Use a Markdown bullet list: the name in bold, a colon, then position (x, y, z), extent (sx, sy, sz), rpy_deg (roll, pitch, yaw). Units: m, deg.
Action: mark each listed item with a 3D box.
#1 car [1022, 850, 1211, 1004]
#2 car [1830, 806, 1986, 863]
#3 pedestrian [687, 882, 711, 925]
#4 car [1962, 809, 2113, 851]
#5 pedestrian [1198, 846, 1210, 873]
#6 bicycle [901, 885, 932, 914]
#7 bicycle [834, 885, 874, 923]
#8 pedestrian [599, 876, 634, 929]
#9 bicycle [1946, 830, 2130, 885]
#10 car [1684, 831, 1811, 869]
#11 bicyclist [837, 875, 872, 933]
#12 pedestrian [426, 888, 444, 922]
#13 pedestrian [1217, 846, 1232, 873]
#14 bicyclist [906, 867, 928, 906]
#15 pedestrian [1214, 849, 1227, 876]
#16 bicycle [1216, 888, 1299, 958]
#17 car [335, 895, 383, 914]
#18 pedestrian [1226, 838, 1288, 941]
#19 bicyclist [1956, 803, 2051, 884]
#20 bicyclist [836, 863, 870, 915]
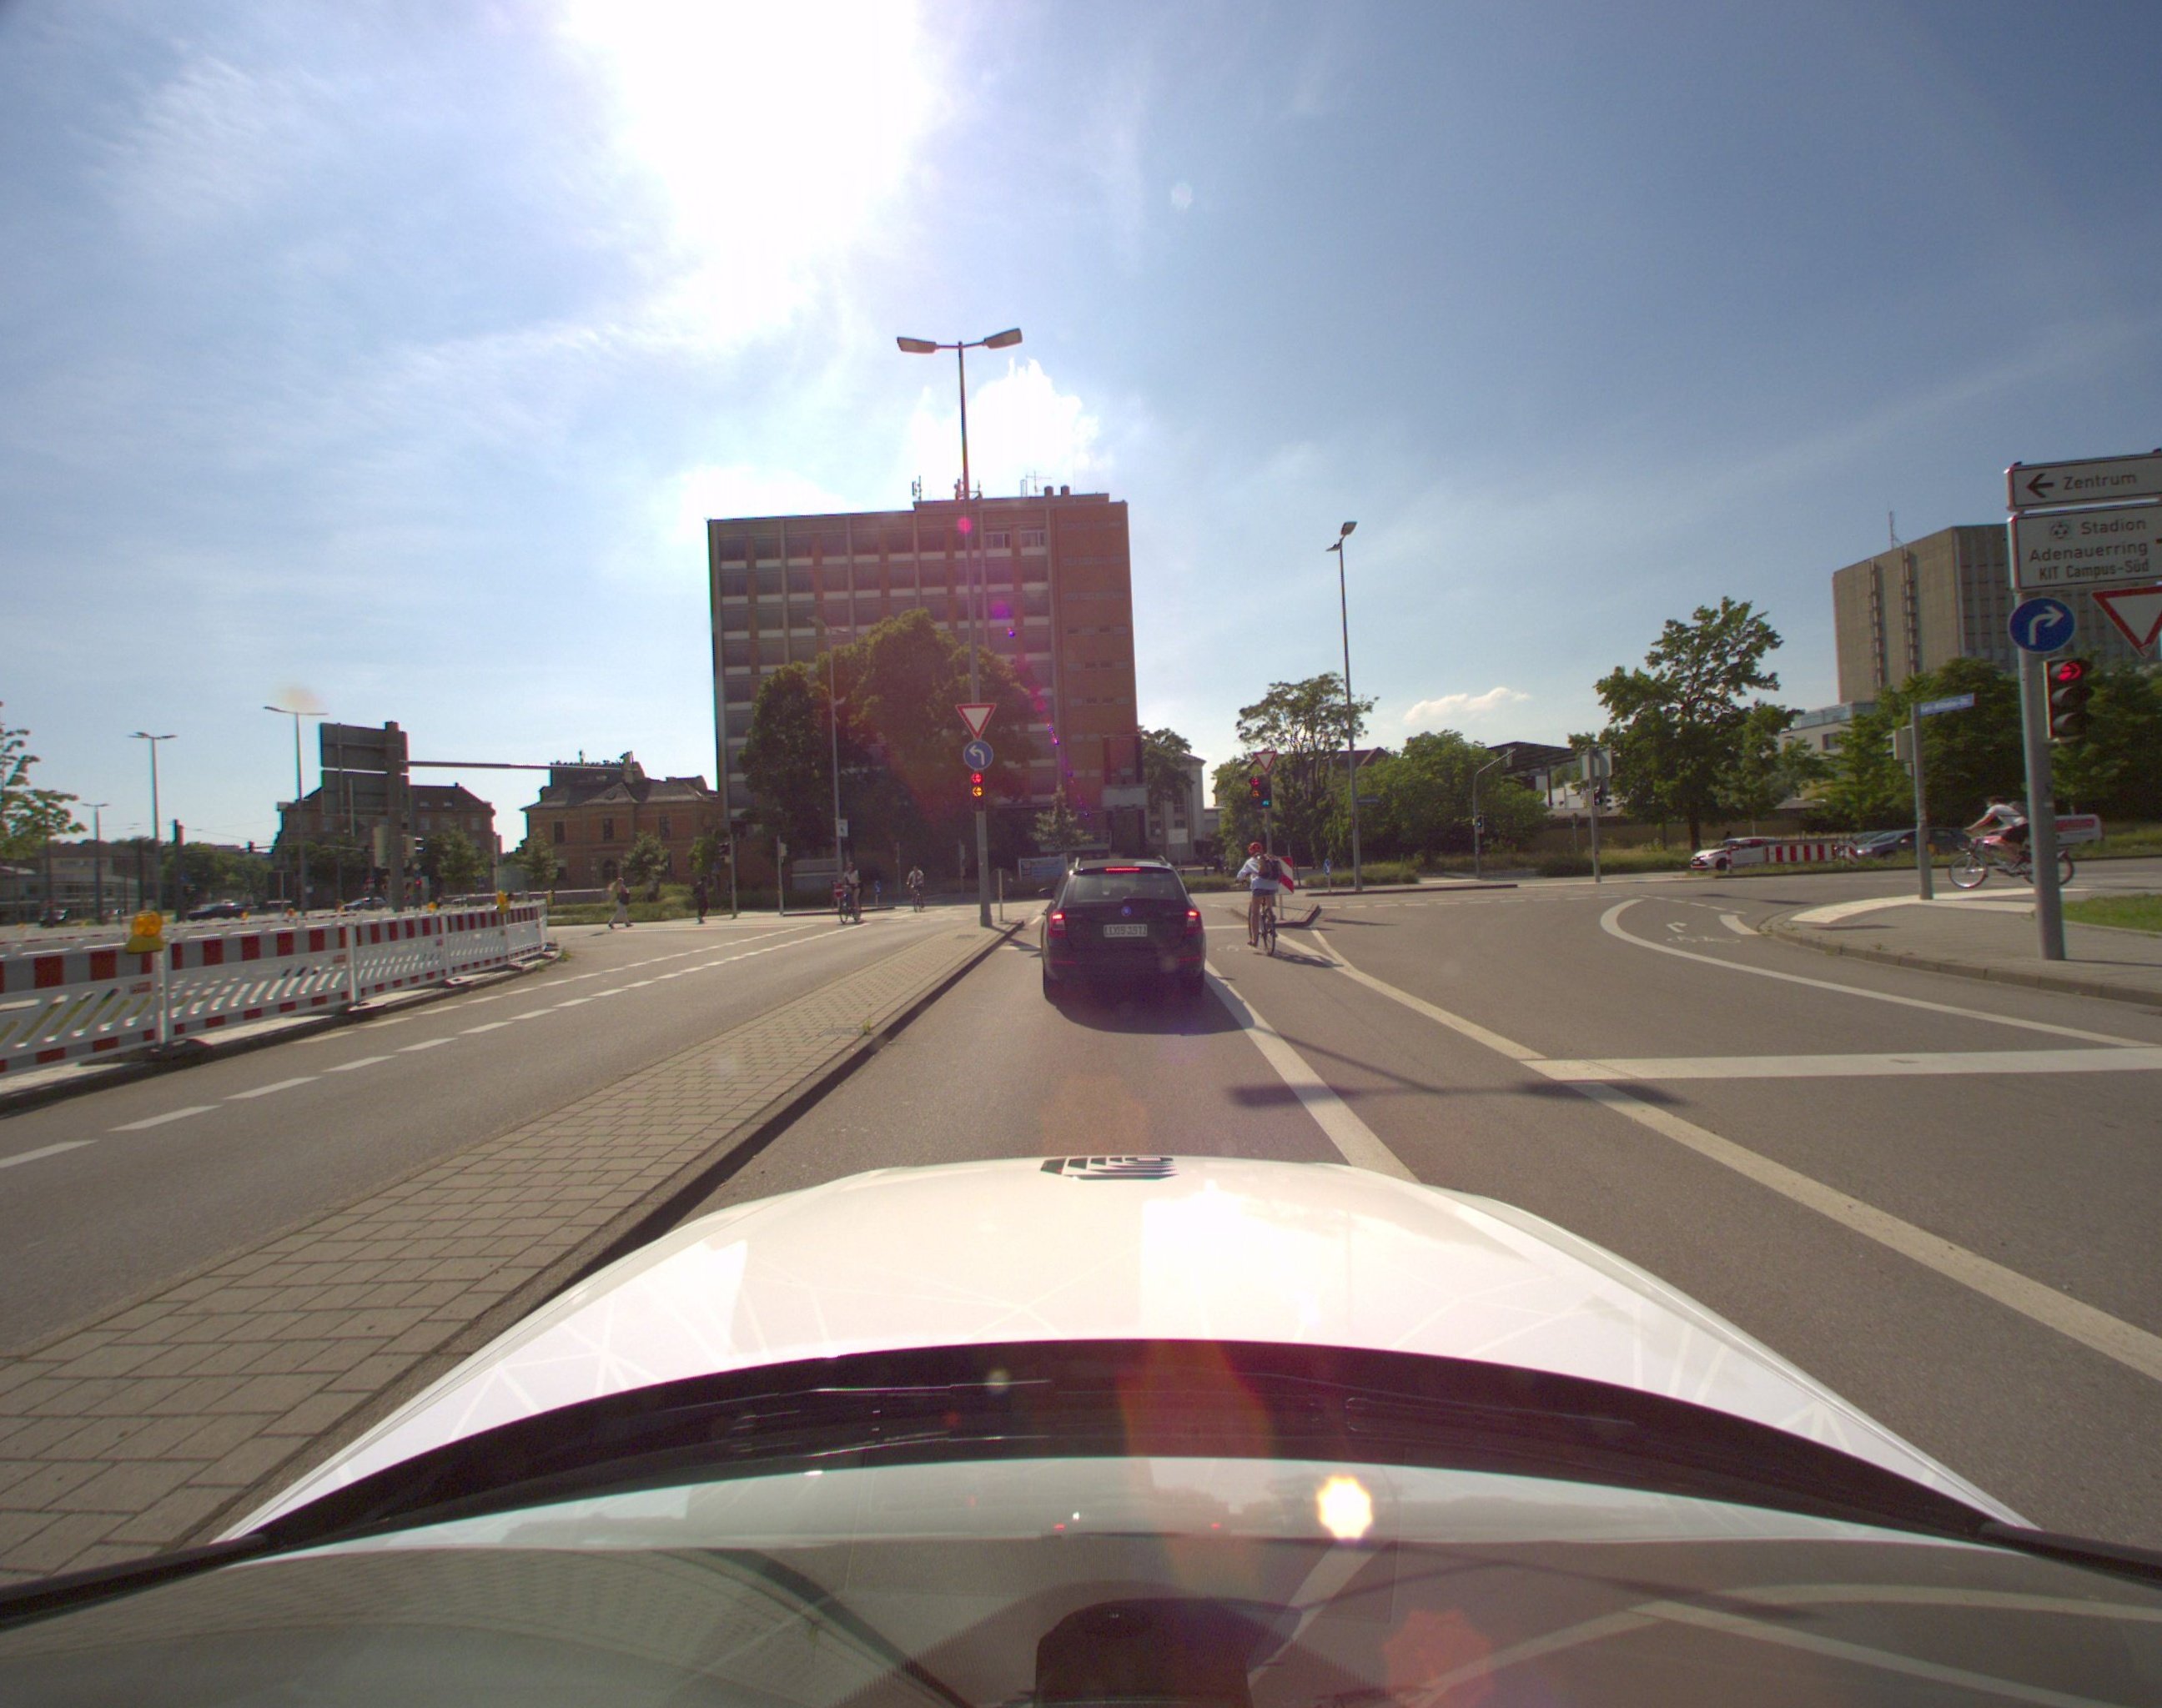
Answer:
- **car**: position (0.418, 0.703, 9.666), extent (1.773, 1.443, 3.820), rpy_deg (-1, 0, 2)
- **car**: position (33.412, -0.744, 33.010), extent (3.966, 2.014, 2.004), rpy_deg (-3, -2, 7)
- **pedestrian**: position (-13.821, 1.764, 29.487), extent (0.632, 1.491, 0.614), rpy_deg (-3, -1, -15)
- **car**: position (41.884, -1.038, 35.742), extent (4.294, 1.569, 1.911), rpy_deg (-3, 0, 1)
- **pedestrian**: position (8.832, 0.384, 58.250), extent (0.591, 1.874, 0.642), rpy_deg (-3, -1, 25)
- **bicycle**: position (-6.352, 1.738, 31.534), extent (0.702, 0.977, 2.030), rpy_deg (-3, 0, 0)
- **bicycle**: position (-6.531, 1.419, 23.504), extent (0.617, 0.961, 1.966), rpy_deg (-5, 0, -3)
- **pedestrian**: position (-16.078, 1.680, 28.222), extent (0.737, 1.752, 1.105), rpy_deg (-3, -3, -14)
- **bicycle**: position (17.663, 0.093, 15.121), extent (0.678, 0.916, 2.143), rpy_deg (-3, -1, -41)
- **car**: position (29.872, -0.143, 36.611), extent (3.972, 1.464, 2.000), rpy_deg (-3, -2, 1)
- **bicyclist**: position (-6.531, 1.419, 23.504), extent (0.617, 1.581, 1.013), rpy_deg (-5, 0, -3)
- **pedestrian**: position (-39.780, 3.127, 50.131), extent (0.623, 2.013, 0.523), rpy_deg (-3, -1, 5)
- **pedestrian**: position (10.516, 0.389, 59.491), extent (0.786, 1.874, 0.643), rpy_deg (-4, 0, 27)
- **bicyclist**: position (-6.338, 1.245, 31.473), extent (0.537, 1.417, 1.030), rpy_deg (-4, -1, 0)
- **pedestrian**: position (9.739, 0.576, 56.886), extent (0.634, 1.874, 0.797), rpy_deg (-4, 0, 1)
- **bicycle**: position (2.633, 1.000, 12.395), extent (0.595, 0.931, 2.023), rpy_deg (-1, -2, -6)
- **car**: position (-87.367, 6.078, 98.593), extent (1.986, 2.013, 4.002), rpy_deg (-3, -1, 2)
- **pedestrian**: position (2.633, 0.515, 12.249), extent (0.582, 1.466, 1.011), rpy_deg (-1, -1, -7)
- **bicyclist**: position (17.406, -0.170, 15.394), extent (0.499, 1.470, 1.129), rpy_deg (1, -2, -42)
- **bicyclist**: position (-6.568, 0.996, 23.509), extent (0.617, 1.443, 0.919), rpy_deg (-5, 0, -3)
